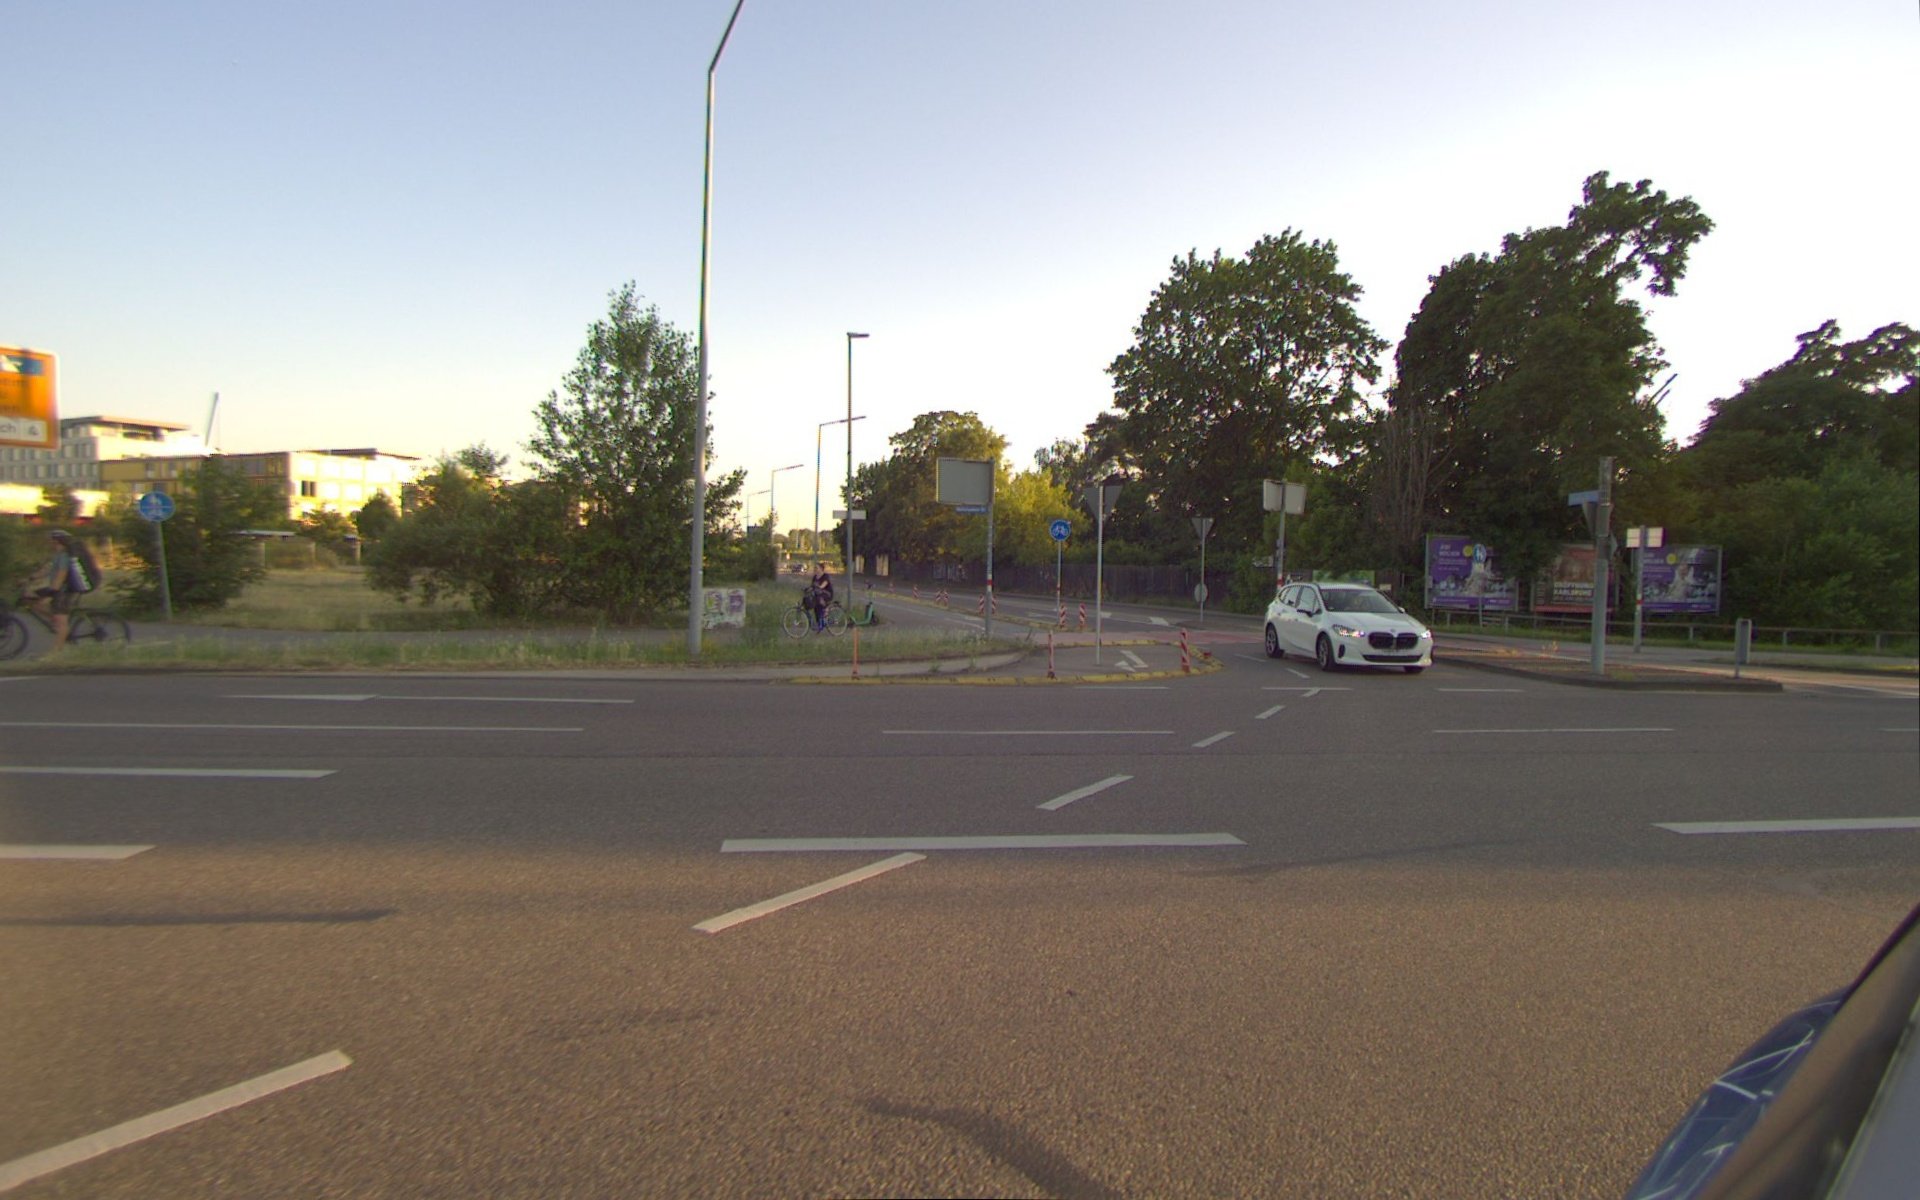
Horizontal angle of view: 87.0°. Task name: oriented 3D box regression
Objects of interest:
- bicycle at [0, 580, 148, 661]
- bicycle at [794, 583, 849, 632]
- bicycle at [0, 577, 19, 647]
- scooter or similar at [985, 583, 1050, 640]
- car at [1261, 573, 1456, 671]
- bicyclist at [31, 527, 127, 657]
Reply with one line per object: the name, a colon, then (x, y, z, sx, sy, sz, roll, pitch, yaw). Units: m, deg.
bicycle: (-13.561, 0.274, 15.376, 0.452, 1.098, 1.913, 2, 3, 24)
bicycle: (-3.211, 0.171, 23.579, 1.350, 1.102, 0.279, 0, 2, -45)
bicycle: (-15.754, 0.241, 15.512, 0.452, 1.098, 1.914, 2, 4, 24)
scooter or similar: (1.273, 0.253, 22.351, 1.355, 1.177, 0.443, 3, 0, -29)
car: (7.327, 0.323, 19.094, 1.854, 1.577, 4.099, 1, 2, -3)
bicyclist: (-13.503, -0.149, 15.527, 0.634, 1.920, 0.903, 2, 3, 23)
